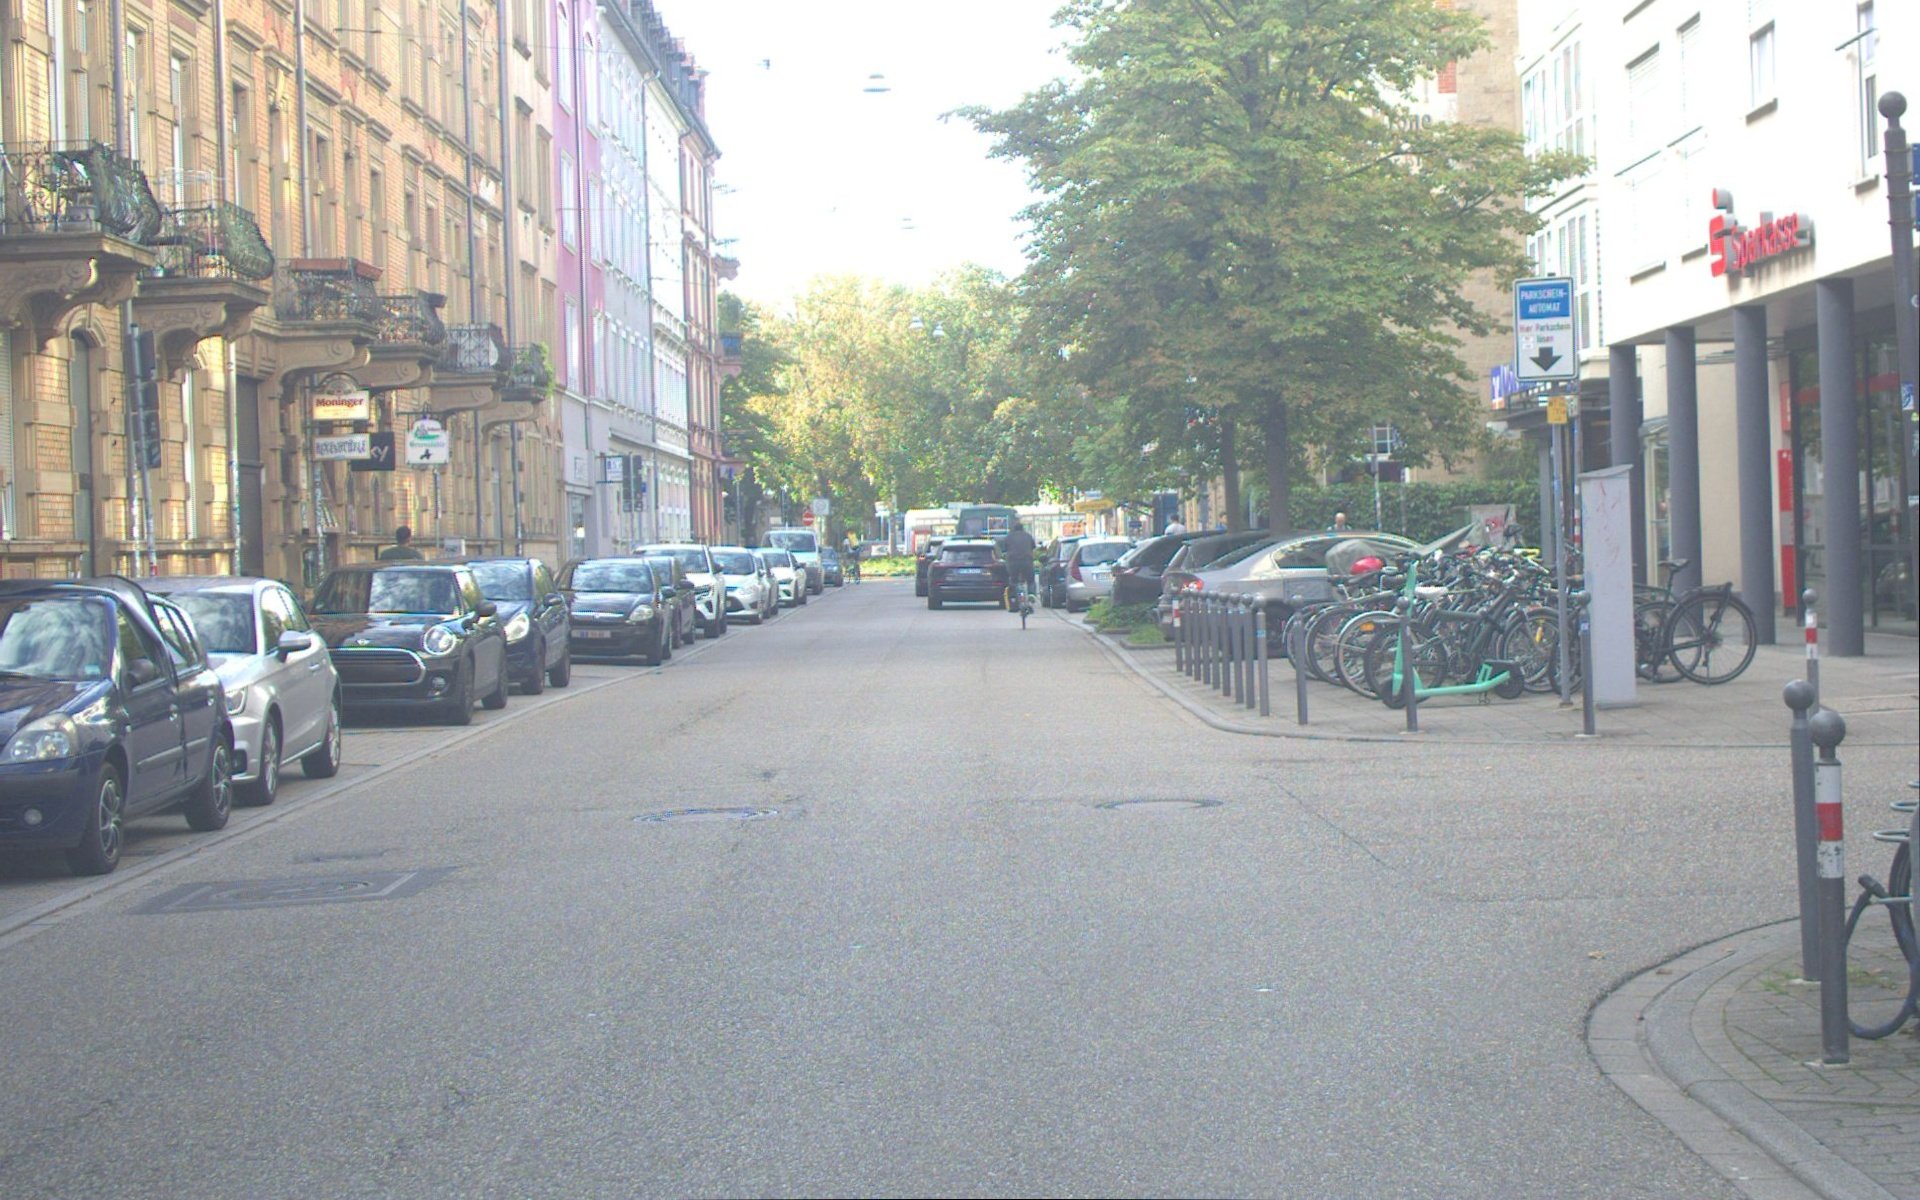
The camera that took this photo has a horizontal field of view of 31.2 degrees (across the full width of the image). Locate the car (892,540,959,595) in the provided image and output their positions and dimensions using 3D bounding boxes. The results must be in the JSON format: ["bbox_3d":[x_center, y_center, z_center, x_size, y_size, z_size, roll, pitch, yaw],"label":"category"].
[{"bbox_3d":[-0.956,-0.917,95.351,1.797,1.467,3.888,-1,1,-1],"label":"car"}]

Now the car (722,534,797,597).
[{"bbox_3d":[-5.071,-0.885,87.155,1.690,1.545,3.867,0,1,0],"label":"car"}]

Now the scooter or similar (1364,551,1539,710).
[{"bbox_3d":[3.779,0.239,26.450,1.207,1.143,0.378,-3,3,32],"label":"scooter or similar"}]

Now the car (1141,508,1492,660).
[{"bbox_3d":[4.245,-0.188,41.214,3.759,1.541,1.731,-4,0,-10],"label":"car"}]

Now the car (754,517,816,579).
[{"bbox_3d":[-5.253,-1.568,103.551,1.690,1.815,3.867,0,1,0],"label":"car"}]

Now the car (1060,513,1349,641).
[{"bbox_3d":[3.553,-0.347,49.748,3.988,1.578,2.000,-4,1,6],"label":"car"}]

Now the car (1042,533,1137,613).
[{"bbox_3d":[2.774,-0.607,74.220,1.930,1.632,4.000,0,1,1],"label":"car"}]

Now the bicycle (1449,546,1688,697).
[{"bbox_3d":[4.889,0.168,27.691,1.766,1.083,0.650,-4,2,3],"label":"bicycle"}]

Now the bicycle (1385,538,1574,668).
[{"bbox_3d":[5.115,0.028,33.905,1.732,1.155,0.500,-4,1,2],"label":"bicycle"}]

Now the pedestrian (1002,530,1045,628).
[{"bbox_3d":[1.088,-0.364,58.685,0.718,1.644,0.930,0,1,1],"label":"pedestrian"}]

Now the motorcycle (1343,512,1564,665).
[{"bbox_3d":[5.142,-0.124,35.914,2.151,1.430,0.765,-4,1,5],"label":"motorcycle"}]

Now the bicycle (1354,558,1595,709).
[{"bbox_3d":[4.045,0.255,27.060,1.765,1.053,0.411,-4,1,-4],"label":"bicycle"}]

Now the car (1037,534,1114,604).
[{"bbox_3d":[2.628,-0.724,78.666,1.690,1.545,3.688,0,1,1],"label":"car"}]

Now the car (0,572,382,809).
[{"bbox_3d":[-5.025,0.529,22.608,1.690,1.382,3.867,0,1,1],"label":"car"}]

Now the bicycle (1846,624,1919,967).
[{"bbox_3d":[3.860,0.601,10.784,1.961,1.091,0.688,-2,0,43],"label":"bicycle"}]

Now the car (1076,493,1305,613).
[{"bbox_3d":[4.170,-0.863,62.194,3.987,1.678,1.737,-4,9,5],"label":"car"}]

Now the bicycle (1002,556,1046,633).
[{"bbox_3d":[1.089,-0.105,58.585,0.718,1.270,1.884,0,1,1],"label":"bicycle"}]

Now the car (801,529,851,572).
[{"bbox_3d":[-4.996,-1.858,128.457,1.587,1.533,3.753,-1,1,2],"label":"car"}]

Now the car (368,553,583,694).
[{"bbox_3d":[-5.205,0.218,37.380,1.690,1.432,3.867,0,1,1],"label":"car"}]

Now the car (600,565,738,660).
[{"bbox_3d":[-4.527,0.167,53.865,1.690,1.365,3.867,2,1,1],"label":"car"}]

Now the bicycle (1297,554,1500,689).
[{"bbox_3d":[4.039,0.199,31.703,1.766,1.114,0.411,-4,1,3],"label":"bicycle"}]

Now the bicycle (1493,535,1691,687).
[{"bbox_3d":[5.231,0.086,28.469,1.495,1.142,0.411,-4,1,1],"label":"bicycle"}]

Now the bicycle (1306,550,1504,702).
[{"bbox_3d":[3.676,0.208,28.432,1.495,1.142,0.411,-4,1,-4],"label":"bicycle"}]

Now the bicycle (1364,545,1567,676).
[{"bbox_3d":[4.848,0.104,33.033,1.797,1.155,0.499,-3,2,27],"label":"bicycle"}]

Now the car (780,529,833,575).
[{"bbox_3d":[-5.295,-1.653,118.720,1.690,1.545,3.867,0,1,0],"label":"car"}]

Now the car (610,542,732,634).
[{"bbox_3d":[-5.026,-0.226,60.179,1.690,1.545,3.867,-1,1,1],"label":"car"}]

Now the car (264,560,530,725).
[{"bbox_3d":[-5.055,0.344,31.345,1.690,1.382,3.867,0,1,1],"label":"car"}]

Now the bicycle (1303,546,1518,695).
[{"bbox_3d":[3.881,0.168,29.596,1.765,1.142,0.411,-4,2,-19],"label":"bicycle"}]

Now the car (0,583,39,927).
[{"bbox_3d":[-5.062,0.703,13.454,1.742,1.478,3.983,0,1,1],"label":"car"}]

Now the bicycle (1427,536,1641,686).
[{"bbox_3d":[4.931,0.086,29.515,1.765,1.142,0.411,-4,2,-19],"label":"bicycle"}]

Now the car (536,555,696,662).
[{"bbox_3d":[-4.749,0.095,47.901,1.690,1.365,3.867,2,1,1],"label":"car"}]

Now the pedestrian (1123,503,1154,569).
[{"bbox_3d":[6.070,-2.183,116.887,0.995,2.222,0.898,0,1,1],"label":"pedestrian"}]

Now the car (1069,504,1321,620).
[{"bbox_3d":[3.909,-0.637,56.852,3.988,1.634,2.000,-4,1,6],"label":"car"}]

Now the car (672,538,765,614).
[{"bbox_3d":[-5.035,-0.514,71.970,1.690,1.545,3.867,0,1,0],"label":"car"}]

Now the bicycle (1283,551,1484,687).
[{"bbox_3d":[4.012,0.177,32.637,1.794,1.155,0.500,-4,1,3],"label":"bicycle"}]

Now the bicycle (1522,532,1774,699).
[{"bbox_3d":[5.319,0.114,26.638,1.766,1.158,0.650,-4,1,3],"label":"bicycle"}]

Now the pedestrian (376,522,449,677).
[{"bbox_3d":[-6.613,-0.021,41.579,0.689,1.847,0.931,0,1,2],"label":"pedestrian"}]

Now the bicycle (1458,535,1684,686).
[{"bbox_3d":[5.152,0.080,29.009,1.765,1.142,0.411,-4,1,-5],"label":"bicycle"}]

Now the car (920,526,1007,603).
[{"bbox_3d":[0.082,-0.808,80.001,1.965,1.735,4.041,-1,0,0],"label":"car"}]

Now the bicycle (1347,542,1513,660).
[{"bbox_3d":[5.083,0.008,37.262,1.664,1.155,0.557,-4,1,2],"label":"bicycle"}]

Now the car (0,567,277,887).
[{"bbox_3d":[-4.937,0.586,18.208,1.742,1.478,3.983,0,1,1],"label":"car"}]

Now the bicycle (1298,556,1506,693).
[{"bbox_3d":[3.977,0.218,30.959,1.766,1.095,0.411,-4,1,3],"label":"bicycle"}]

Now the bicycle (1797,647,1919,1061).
[{"bbox_3d":[3.223,0.672,9.170,1.768,1.091,0.682,-2,1,43],"label":"bicycle"}]

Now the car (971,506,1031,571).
[{"bbox_3d":[1.272,-1.947,108.731,1.782,2.013,3.888,-1,1,-1],"label":"car"}]

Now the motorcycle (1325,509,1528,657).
[{"bbox_3d":[5.269,-0.196,38.943,2.151,1.525,0.686,-4,1,5],"label":"motorcycle"}]
